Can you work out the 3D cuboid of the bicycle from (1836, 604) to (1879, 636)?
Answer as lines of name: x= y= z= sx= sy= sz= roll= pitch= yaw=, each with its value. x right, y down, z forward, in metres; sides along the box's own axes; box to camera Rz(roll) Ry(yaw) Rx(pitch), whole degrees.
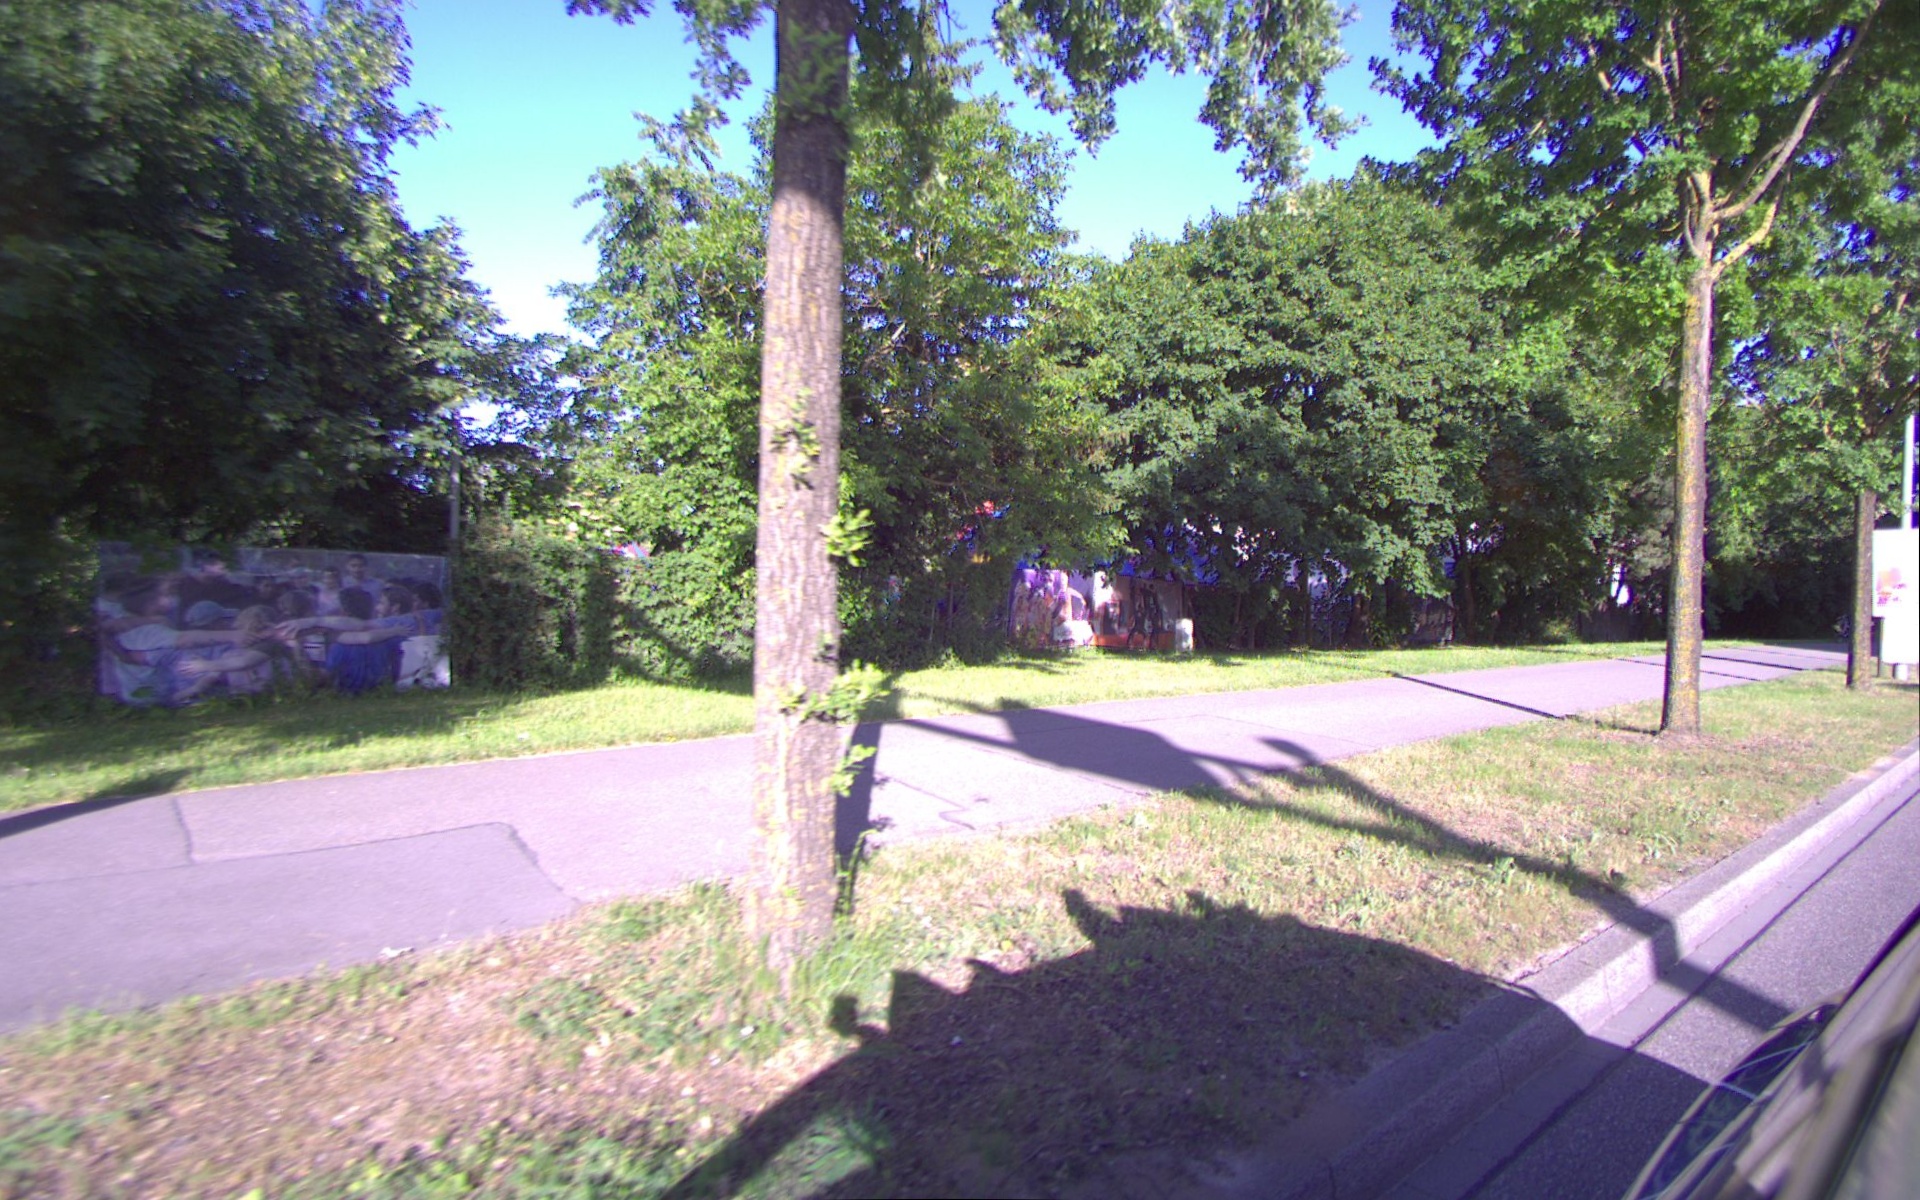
bicycle: x=34.250 y=0.768 z=38.602 sx=1.675 sy=1.145 sz=0.777 roll=1 pitch=0 yaw=-33
